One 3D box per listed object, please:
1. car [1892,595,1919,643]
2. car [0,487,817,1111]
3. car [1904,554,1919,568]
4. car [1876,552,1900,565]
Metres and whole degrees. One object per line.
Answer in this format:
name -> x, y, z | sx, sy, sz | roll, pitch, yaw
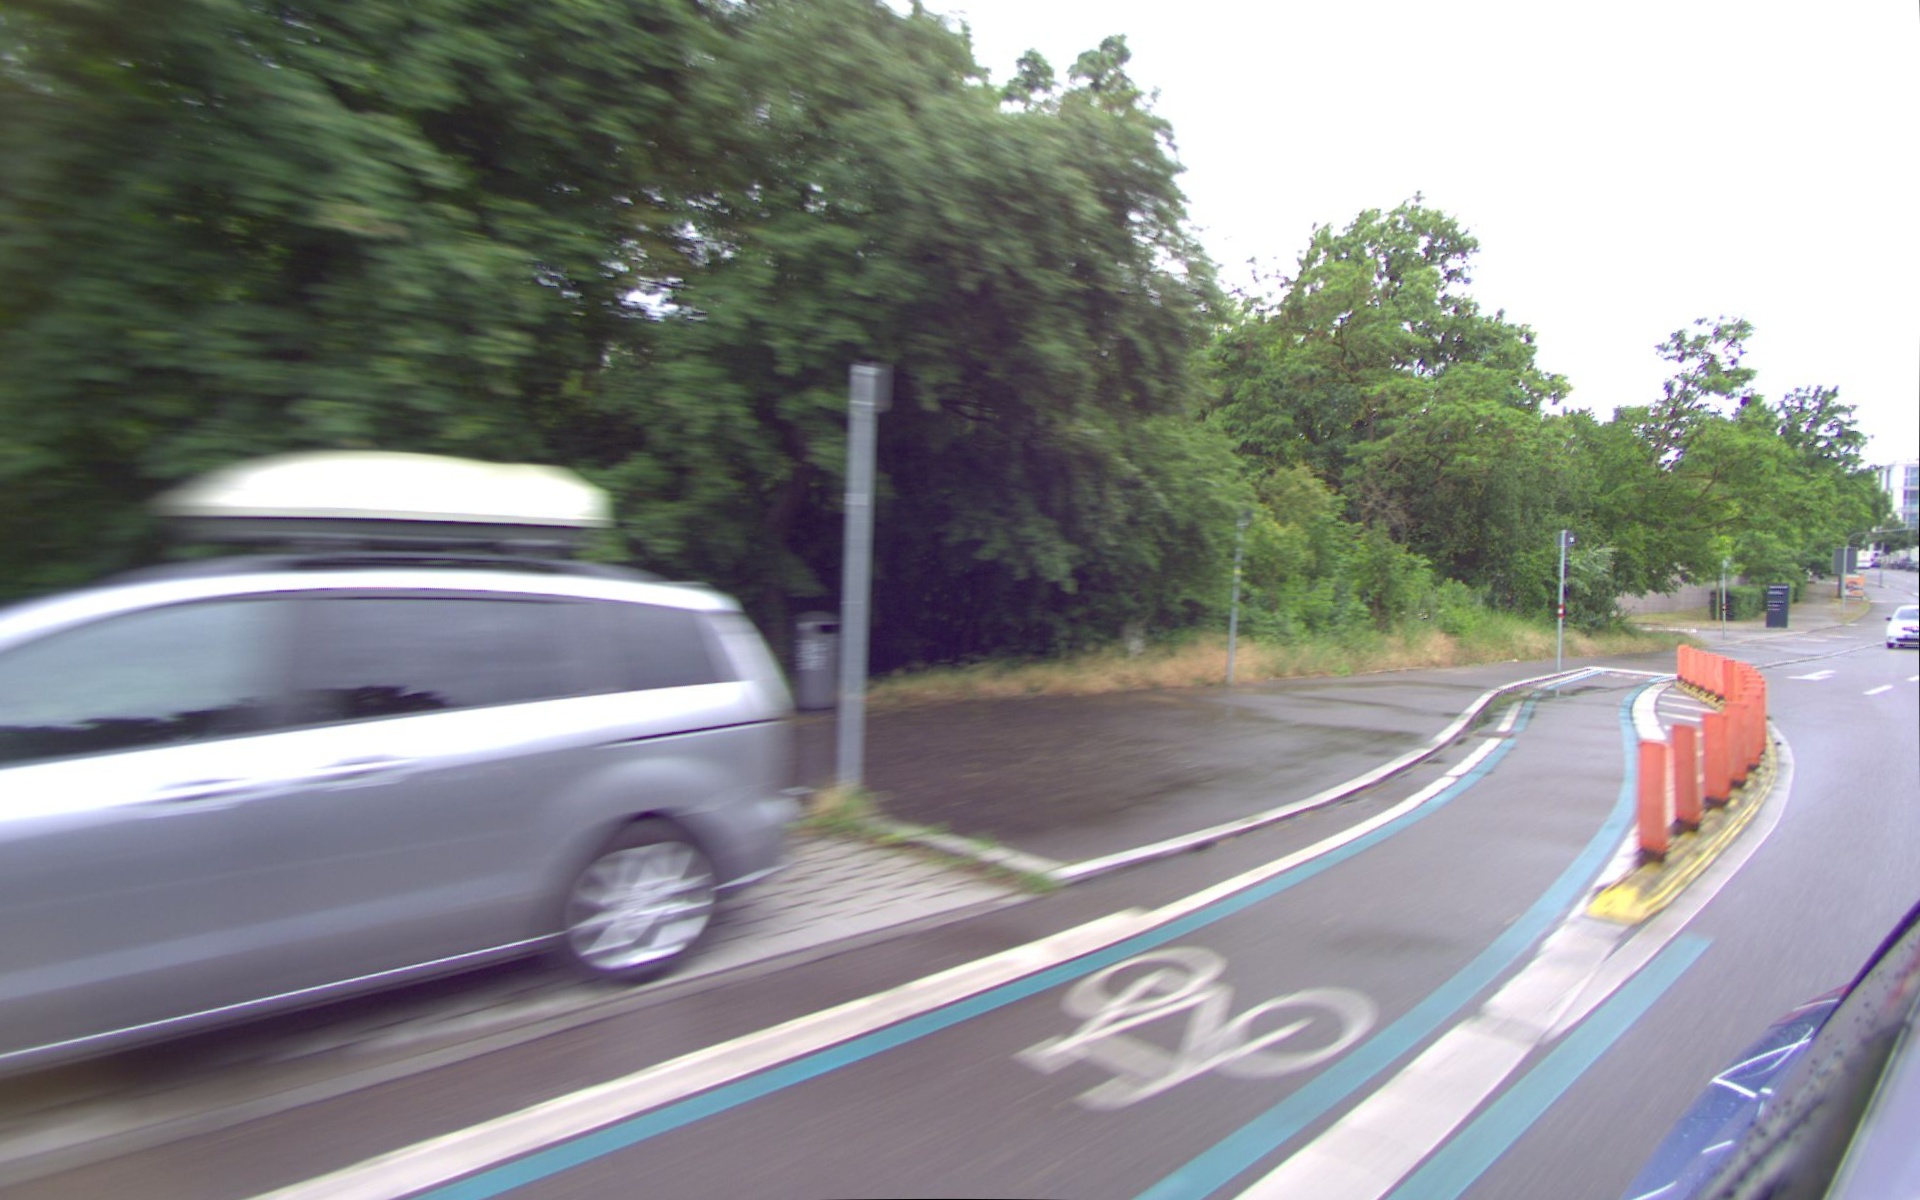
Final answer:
car -> 35.519, 0.673, 36.957 | 3.933, 1.683, 1.924 | 0, 0, -43
car -> -2.774, 0.532, 3.669 | 4.179, 1.635, 1.824 | 0, -1, -42
car -> 145.020, -5.924, 153.387 | 1.909, 2.039, 4.341 | 0, 1, 29
car -> 151.587, -6.813, 165.325 | 1.909, 2.039, 4.341 | 0, 1, 29
